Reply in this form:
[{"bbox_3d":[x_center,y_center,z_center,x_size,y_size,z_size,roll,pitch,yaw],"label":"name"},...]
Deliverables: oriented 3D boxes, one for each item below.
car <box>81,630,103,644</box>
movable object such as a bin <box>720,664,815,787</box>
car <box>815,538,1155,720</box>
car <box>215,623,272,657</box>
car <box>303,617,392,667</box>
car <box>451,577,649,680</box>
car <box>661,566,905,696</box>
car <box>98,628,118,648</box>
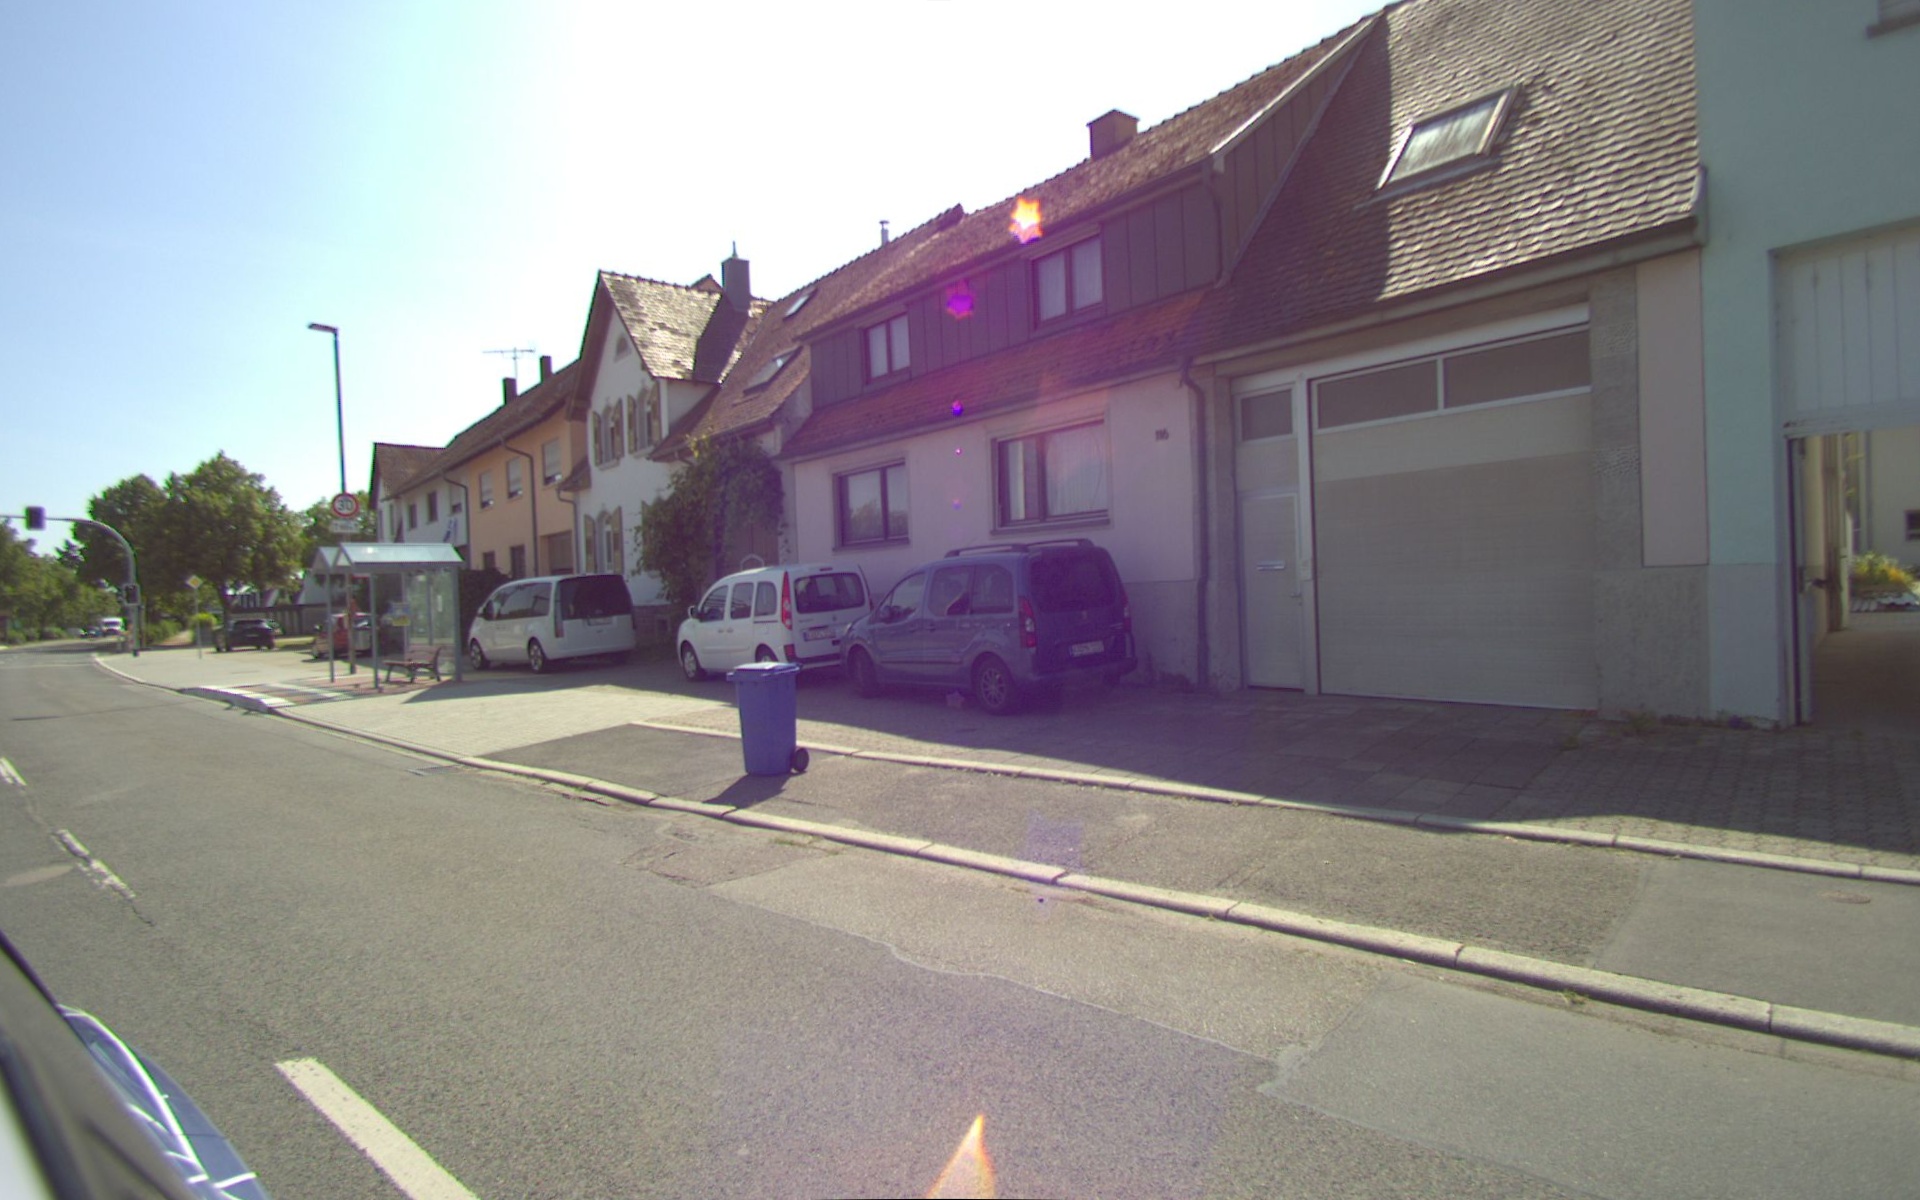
[{"bbox_3d":[-104.023,4.476,121.334,1.818,1.604,4.113,0,-1,-39],"label":"car"},{"bbox_3d":[-1.636,1.047,8.613,0.513,0.943,0.553,-2,1,35],"label":"movable object such as a bin"},{"bbox_3d":[0.110,0.312,12.547,1.813,1.806,4.352,-4,1,-37],"label":"car"},{"bbox_3d":[-33.020,1.812,46.584,1.693,1.418,4.404,1,-1,-41],"label":"car"},{"bbox_3d":[-20.424,1.419,33.665,1.695,1.464,3.918,-2,-1,-44],"label":"car"},{"bbox_3d":[-9.204,0.591,22.440,5.267,2.001,2.102,-2,0,44],"label":"car"},{"bbox_3d":[-2.958,0.444,16.229,1.943,1.787,4.284,-2,0,-40],"label":"car"},{"bbox_3d":[-112.627,4.969,133.815,1.909,2.521,5.849,0,-1,-39],"label":"car"}]
